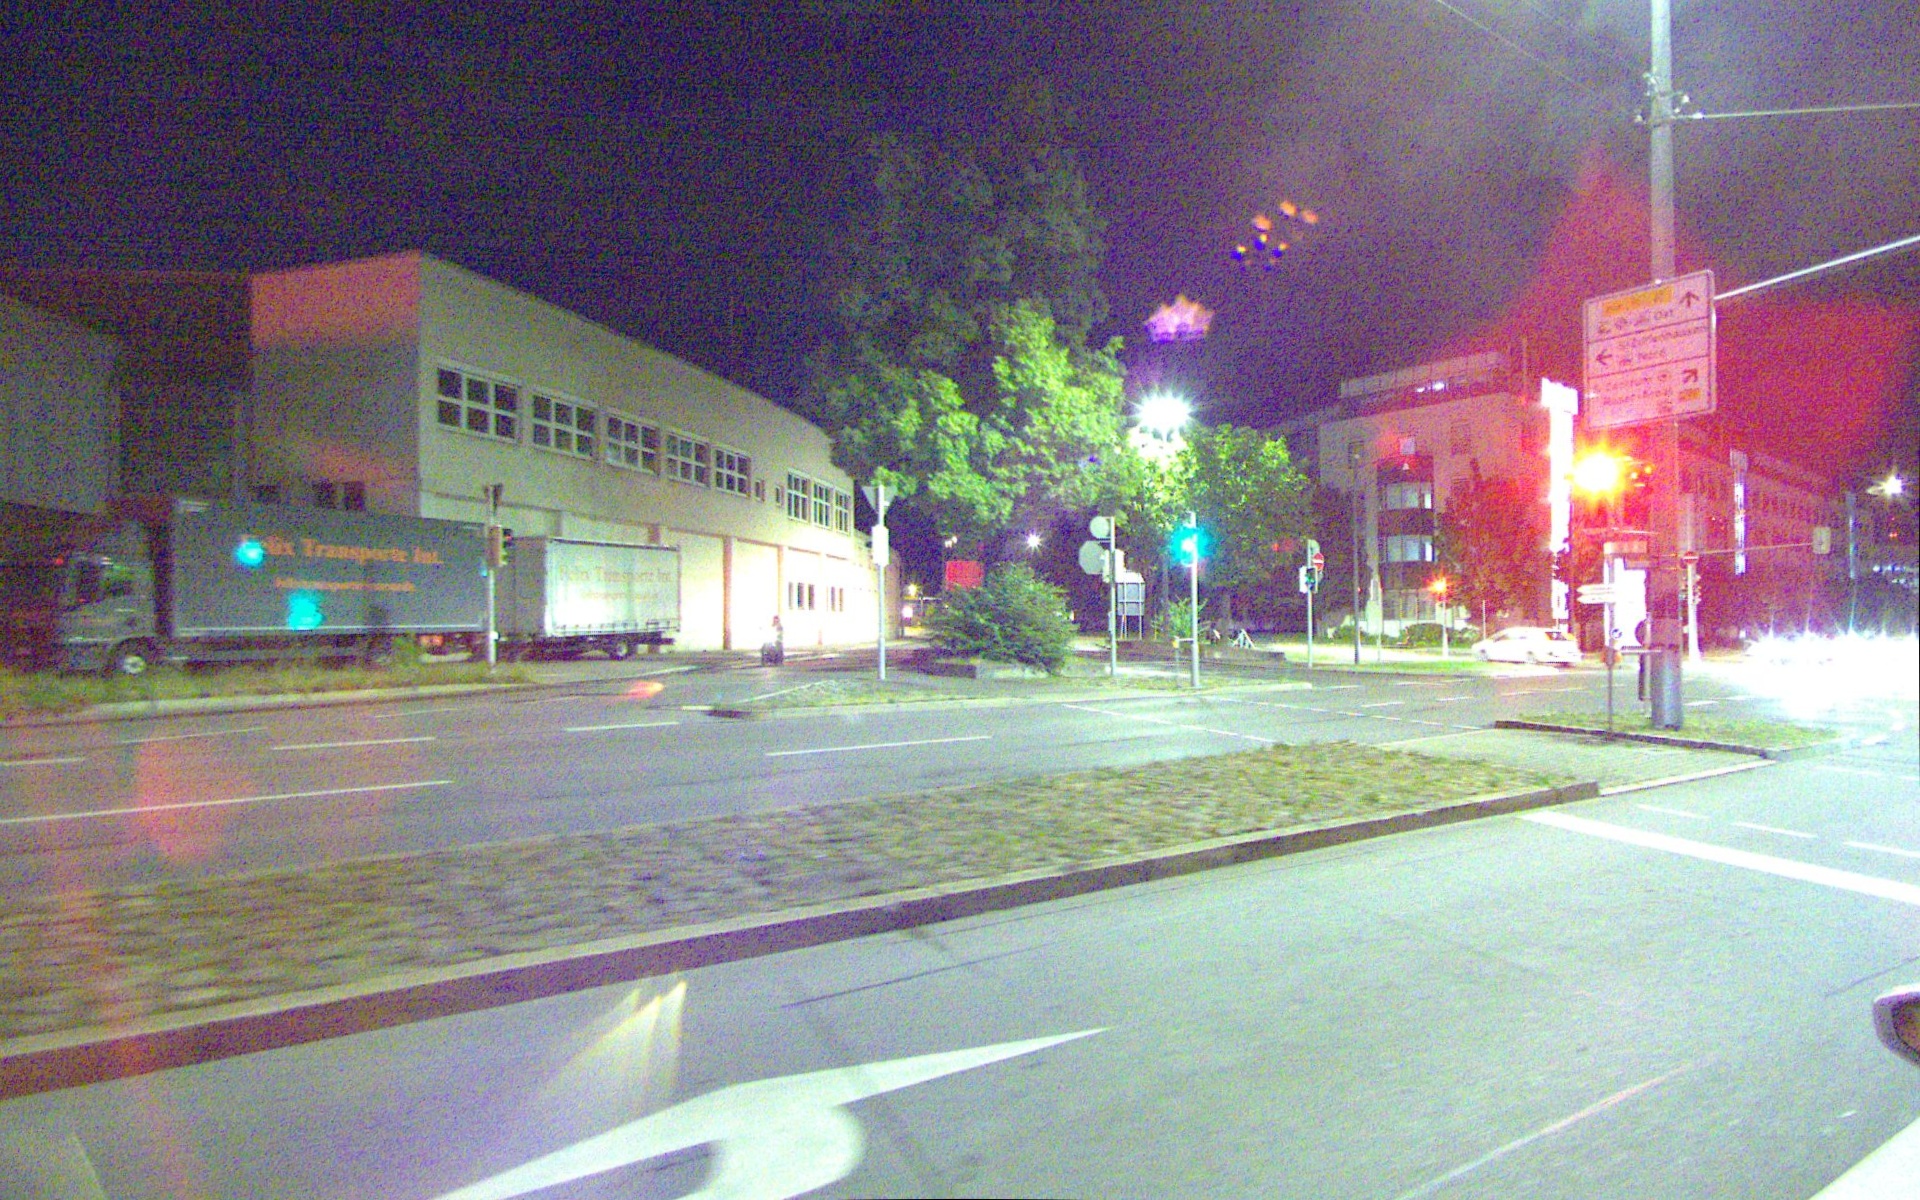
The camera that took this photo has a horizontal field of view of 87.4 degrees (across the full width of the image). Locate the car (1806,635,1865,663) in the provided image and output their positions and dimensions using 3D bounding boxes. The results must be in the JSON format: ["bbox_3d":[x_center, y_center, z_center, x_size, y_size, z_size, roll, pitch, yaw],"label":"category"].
[{"bbox_3d":[44.903,2.502,51.493,3.517,1.339,1.744,2,-2,-39],"label":"car"}]

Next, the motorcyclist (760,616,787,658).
[{"bbox_3d":[-5.778,1.140,31.170,0.635,1.278,0.579,1,-1,9],"label":"motorcyclist"}]

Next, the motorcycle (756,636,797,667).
[{"bbox_3d":[-5.680,1.587,31.221,0.568,0.907,2.157,-1,-2,9],"label":"motorcycle"}]

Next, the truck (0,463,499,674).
[{"bbox_3d":[-15.760,-0.436,23.277,2.892,3.846,9.551,1,-2,25],"label":"truck"}]

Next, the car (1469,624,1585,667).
[{"bbox_3d":[21.515,1.686,38.320,1.678,1.511,3.993,1,-1,-11],"label":"car"}]

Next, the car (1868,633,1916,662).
[{"bbox_3d":[58.637,2.987,63.167,3.517,1.750,1.744,2,-2,-39],"label":"car"}]

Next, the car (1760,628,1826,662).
[{"bbox_3d":[38.937,2.099,46.935,3.965,1.535,1.603,2,-2,-39],"label":"car"}]

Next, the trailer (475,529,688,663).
[{"bbox_3d":[-11.911,-0.021,32.332,2.571,3.841,6.512,1,-2,23],"label":"trailer"}]
